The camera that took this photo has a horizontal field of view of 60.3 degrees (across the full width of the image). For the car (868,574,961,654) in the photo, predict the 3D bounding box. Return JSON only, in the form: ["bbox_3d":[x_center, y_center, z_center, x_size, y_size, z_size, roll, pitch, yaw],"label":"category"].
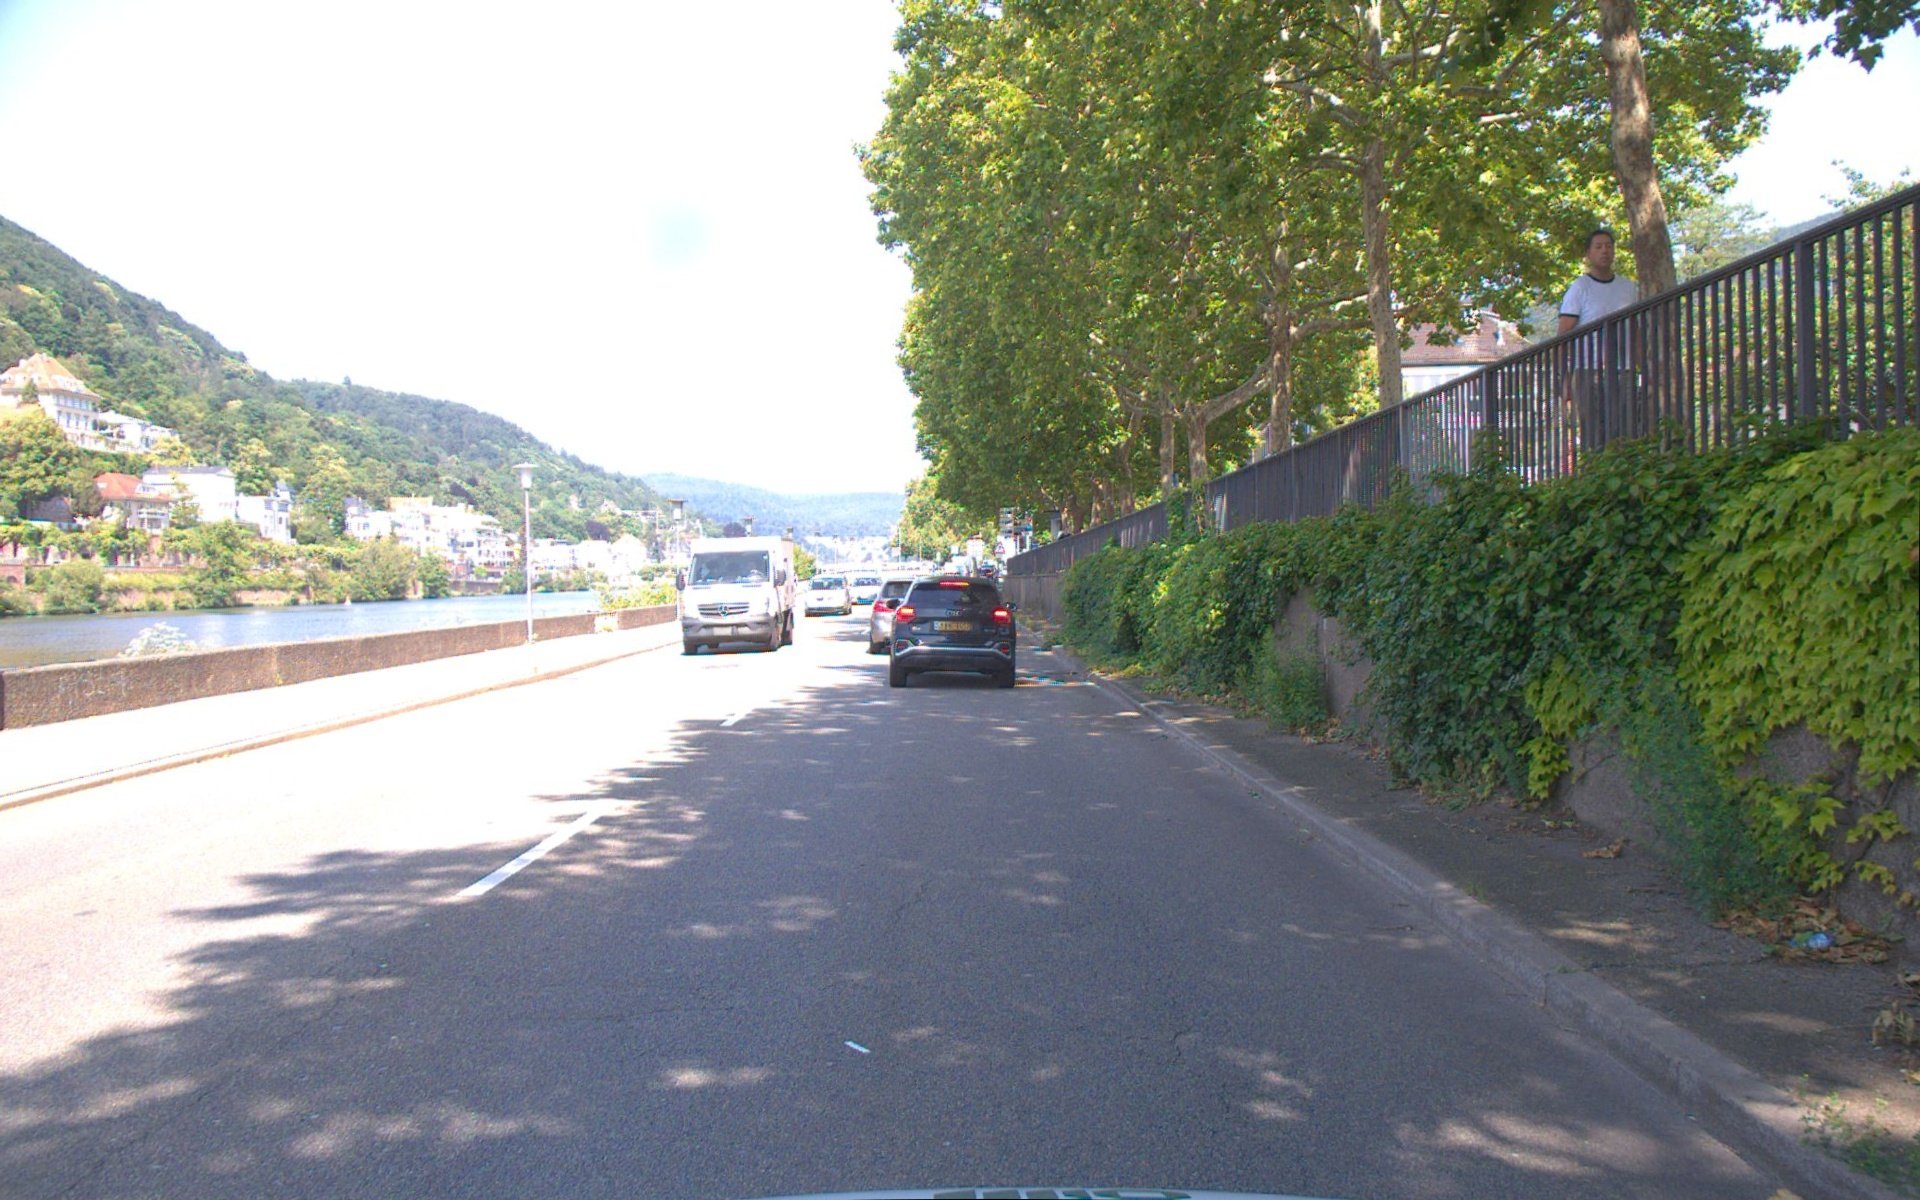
[{"bbox_3d":[-0.926,0.237,33.803,1.791,1.537,3.999,0,1,-1],"label":"car"}]

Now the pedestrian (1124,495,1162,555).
[{"bbox_3d":[4.468,-1.830,40.453,0.738,1.389,0.814,-3,1,-3],"label":"pedestrian"}]

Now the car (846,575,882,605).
[{"bbox_3d":[-4.998,-0.548,86.660,1.696,1.467,4.044,-2,1,-1],"label":"car"}]

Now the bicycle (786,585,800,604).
[{"bbox_3d":[-9.542,-0.333,94.499,0.619,1.029,1.985,-1,1,-1],"label":"bicycle"}]

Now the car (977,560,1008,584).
[{"bbox_3d":[3.060,-2.667,158.132,2.608,2.048,5.823,-4,1,-1],"label":"car"}]

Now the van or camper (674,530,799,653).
[{"bbox_3d":[-4.787,-0.217,36.235,2.035,2.440,5.384,-1,1,-1],"label":"van or camper"}]

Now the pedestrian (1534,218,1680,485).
[{"bbox_3d":[4.165,-1.580,10.682,0.651,1.619,0.650,-1,1,-1],"label":"pedestrian"}]

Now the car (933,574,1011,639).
[{"bbox_3d":[0.254,0.130,40.790,1.791,1.512,3.999,0,1,-1],"label":"car"}]

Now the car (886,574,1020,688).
[{"bbox_3d":[-0.134,0.387,24.151,1.791,1.512,3.999,0,1,-1],"label":"car"}]

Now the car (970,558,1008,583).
[{"bbox_3d":[2.577,-2.648,147.787,3.036,2.048,5.823,-4,1,-1],"label":"car"}]

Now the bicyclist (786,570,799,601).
[{"bbox_3d":[-9.554,-0.836,94.401,0.624,1.702,0.871,-1,1,-1],"label":"bicyclist"}]

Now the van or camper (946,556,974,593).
[{"bbox_3d":[0.022,-2.105,136.544,2.262,2.897,4.246,-1,1,1],"label":"van or camper"}]

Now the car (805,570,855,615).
[{"bbox_3d":[-5.201,-0.331,66.722,1.696,1.678,4.176,-2,1,-1],"label":"car"}]

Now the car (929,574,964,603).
[{"bbox_3d":[-0.738,-0.637,88.523,1.791,1.469,3.999,0,1,-1],"label":"car"}]

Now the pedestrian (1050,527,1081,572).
[{"bbox_3d":[3.869,-1.846,60.602,0.918,1.606,1.027,-3,1,-3],"label":"pedestrian"}]

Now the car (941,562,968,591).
[{"bbox_3d":[-0.420,-1.789,124.924,1.953,2.207,3.999,0,1,-2],"label":"car"}]
